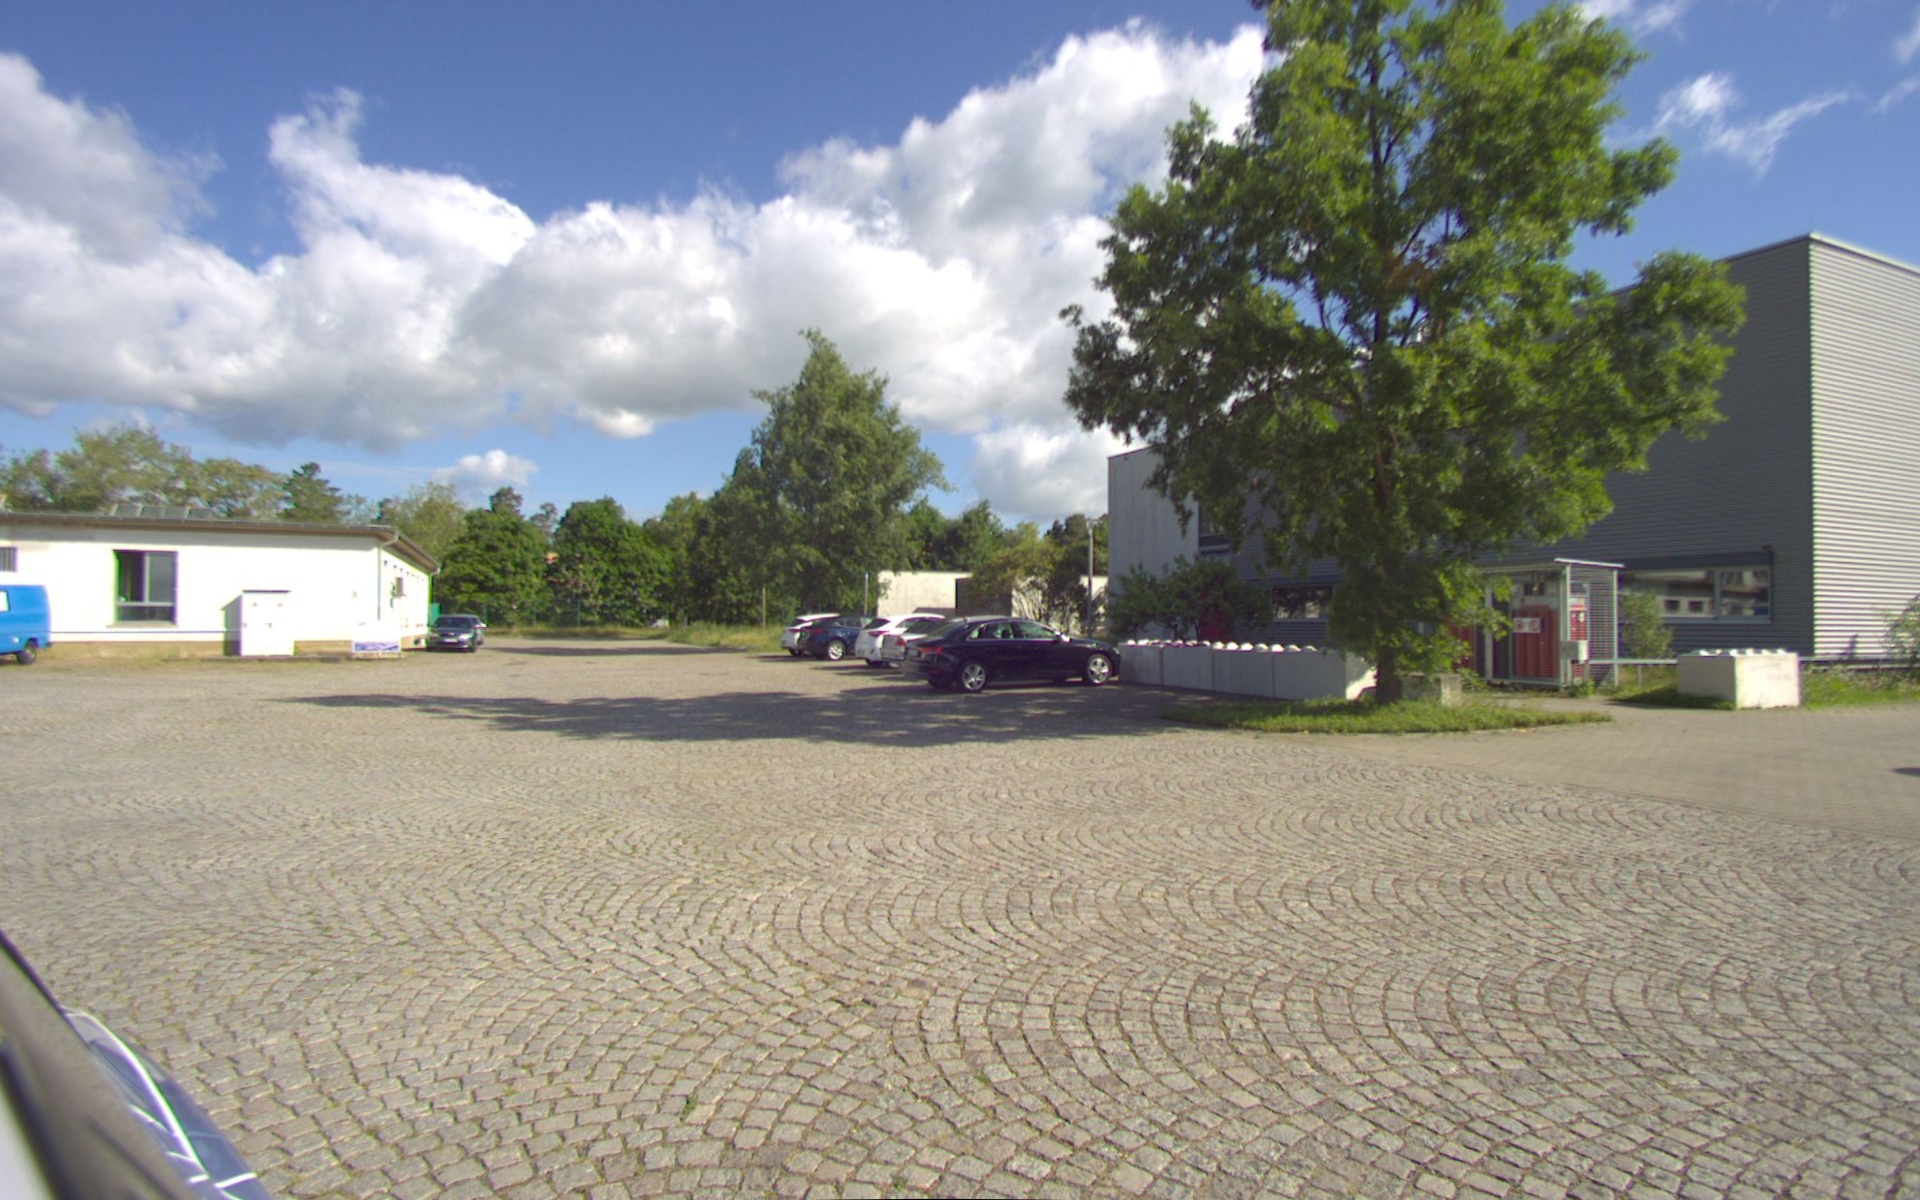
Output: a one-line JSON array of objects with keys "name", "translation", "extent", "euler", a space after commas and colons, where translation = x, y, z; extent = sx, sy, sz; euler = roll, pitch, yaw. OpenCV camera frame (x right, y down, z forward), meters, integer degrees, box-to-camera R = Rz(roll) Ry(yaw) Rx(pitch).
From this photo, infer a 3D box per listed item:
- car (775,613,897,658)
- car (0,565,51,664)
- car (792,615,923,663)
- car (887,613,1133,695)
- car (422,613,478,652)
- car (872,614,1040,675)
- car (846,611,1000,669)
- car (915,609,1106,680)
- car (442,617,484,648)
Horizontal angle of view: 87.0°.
[{"name": "car", "translation": [-4.313, 1.205, 35.198], "extent": [3.857, 1.446, 1.801], "euler": [-1, -1, -23]}, {"name": "car", "translation": [-25.238, 0.357, 25.245], "extent": [2.053, 2.502, 5.256], "euler": [1, -1, -21]}, {"name": "car", "translation": [-3.327, 1.234, 32.770], "extent": [3.857, 1.428, 1.698], "euler": [-1, -1, -23]}, {"name": "car", "translation": [1.037, 1.033, 20.501], "extent": [4.652, 1.434, 1.763], "euler": [-1, -1, -25]}, {"name": "car", "translation": [-20.238, 1.283, 40.257], "extent": [1.738, 1.446, 4.005], "euler": [2, -2, -23]}, {"name": "car", "translation": [-0.107, 1.079, 25.655], "extent": [3.857, 1.382, 1.734], "euler": [-1, -1, -23]}, {"name": "car", "translation": [-1.028, 1.070, 28.062], "extent": [3.857, 1.457, 1.761], "euler": [-1, -1, -23]}, {"name": "car", "translation": [1.165, 0.995, 23.558], "extent": [4.080, 1.471, 1.696], "euler": [-1, -1, -19]}, {"name": "car", "translation": [-24.253, 1.577, 49.478], "extent": [1.663, 1.446, 4.000], "euler": [2, -2, -23]}]
